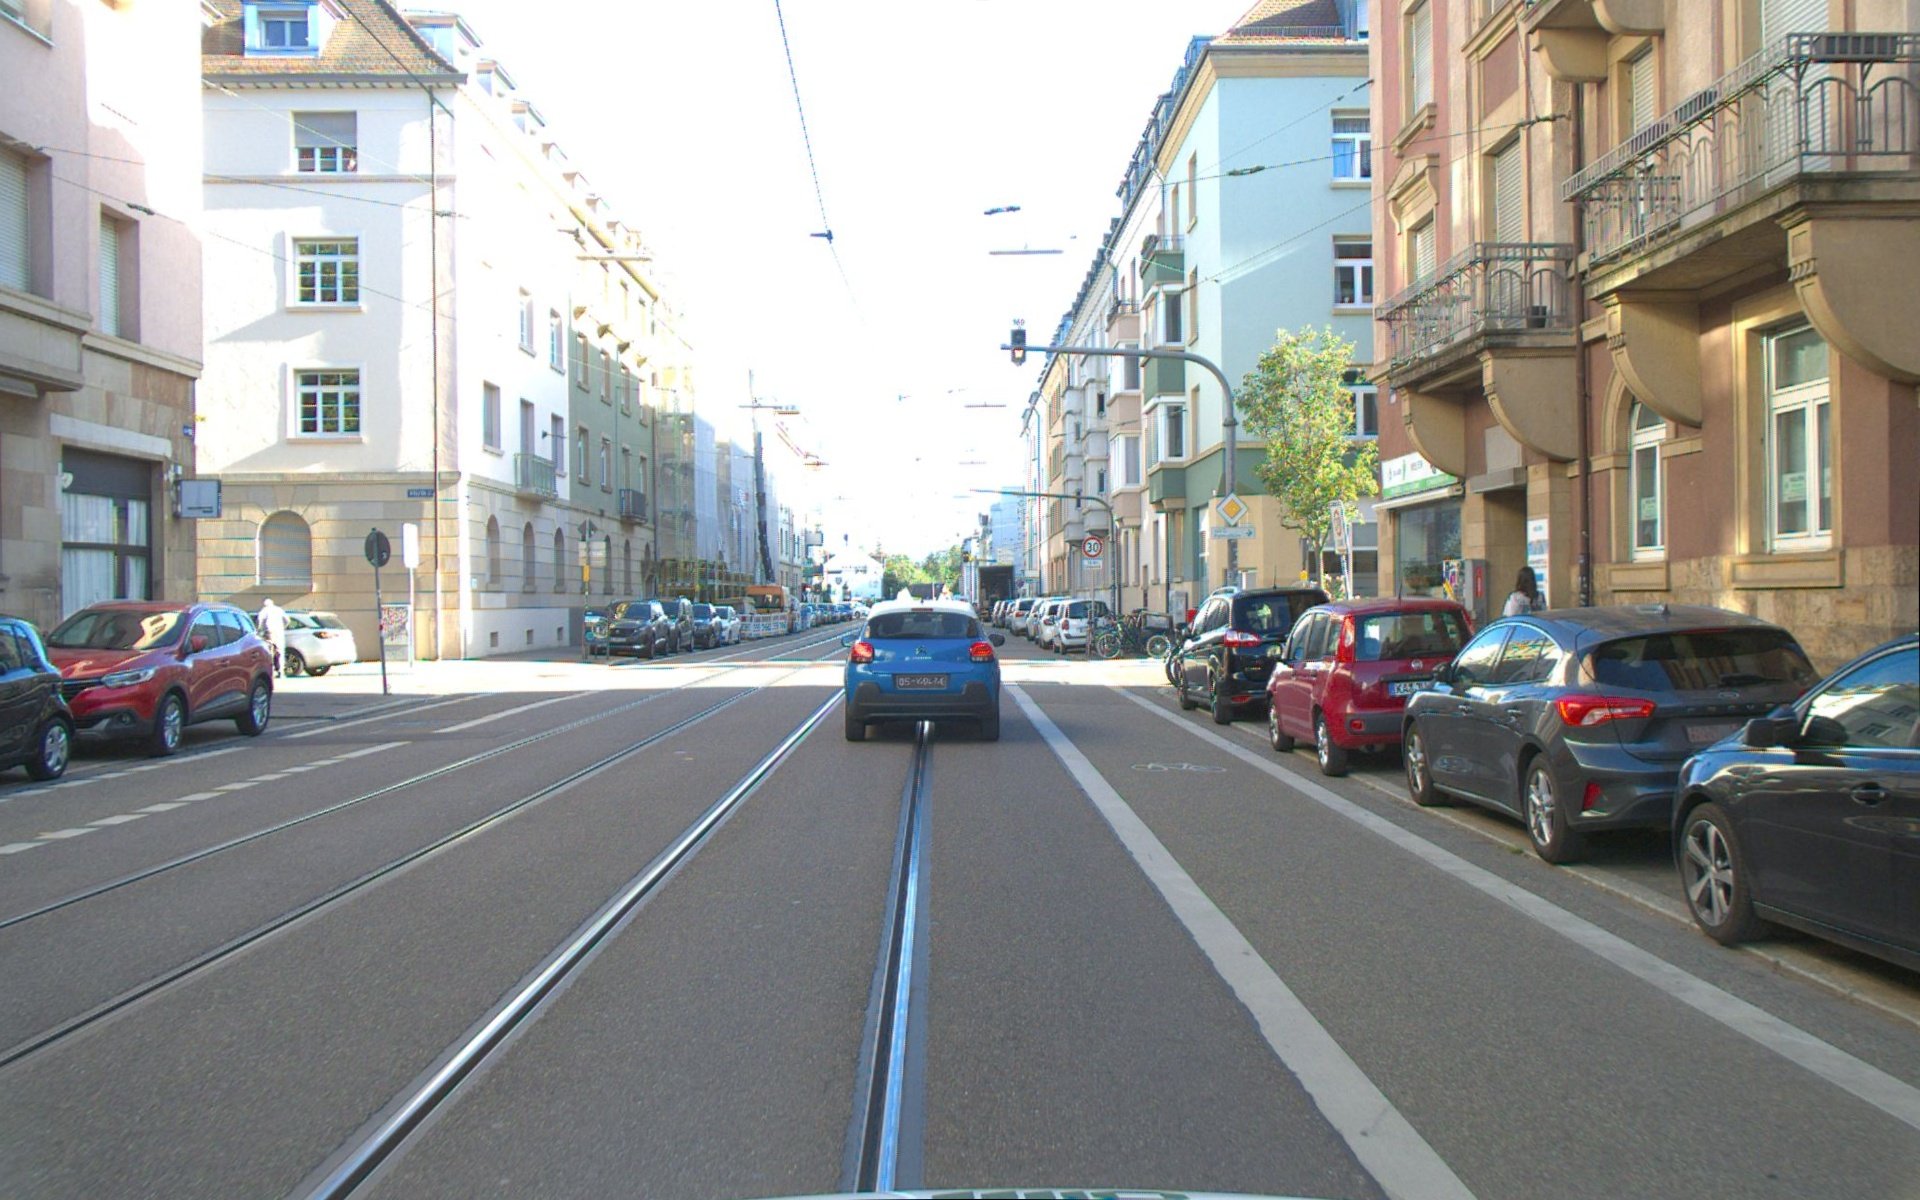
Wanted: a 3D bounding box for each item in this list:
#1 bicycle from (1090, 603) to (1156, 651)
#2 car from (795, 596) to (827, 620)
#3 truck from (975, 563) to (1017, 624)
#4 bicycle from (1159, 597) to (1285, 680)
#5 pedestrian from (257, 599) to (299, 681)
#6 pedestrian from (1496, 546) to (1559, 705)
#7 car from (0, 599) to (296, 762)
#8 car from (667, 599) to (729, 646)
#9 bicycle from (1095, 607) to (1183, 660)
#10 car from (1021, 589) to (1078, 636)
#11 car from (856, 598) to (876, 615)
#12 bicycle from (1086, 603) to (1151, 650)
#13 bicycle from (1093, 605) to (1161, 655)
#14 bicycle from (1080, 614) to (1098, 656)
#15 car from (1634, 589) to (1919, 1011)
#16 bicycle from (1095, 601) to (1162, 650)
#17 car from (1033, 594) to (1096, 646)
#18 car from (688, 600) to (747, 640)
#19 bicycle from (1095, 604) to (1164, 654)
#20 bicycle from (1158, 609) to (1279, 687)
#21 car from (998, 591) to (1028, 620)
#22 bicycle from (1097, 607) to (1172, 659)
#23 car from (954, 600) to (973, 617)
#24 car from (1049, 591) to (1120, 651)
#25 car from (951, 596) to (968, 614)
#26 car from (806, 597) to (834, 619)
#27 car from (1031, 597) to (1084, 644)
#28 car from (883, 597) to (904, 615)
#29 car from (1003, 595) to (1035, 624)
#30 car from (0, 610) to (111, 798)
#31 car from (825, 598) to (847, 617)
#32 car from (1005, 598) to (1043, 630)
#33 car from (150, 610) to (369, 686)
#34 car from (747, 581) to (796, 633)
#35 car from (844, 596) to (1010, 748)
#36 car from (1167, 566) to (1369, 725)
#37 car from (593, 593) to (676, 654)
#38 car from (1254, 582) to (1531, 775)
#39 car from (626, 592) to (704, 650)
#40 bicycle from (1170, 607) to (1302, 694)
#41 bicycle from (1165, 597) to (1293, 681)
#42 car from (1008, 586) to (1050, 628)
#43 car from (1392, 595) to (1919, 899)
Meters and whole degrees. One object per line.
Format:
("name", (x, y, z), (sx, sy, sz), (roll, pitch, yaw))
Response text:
("bicycle", (4.495, 0.741, 45.585), (1.688, 1.174, 0.469), (-5, 0, -1))
("car", (-11.243, 0.584, 125.026), (2.101, 1.649, 3.999), (-2, 0, -1))
("truck", (2.523, -0.497, 120.535), (2.794, 4.154, 11.271), (-2, 0, 0))
("bicycle", (4.258, 0.617, 26.972), (1.919, 1.248, 0.527), (-3, 0, -1))
("pedestrian", (-14.881, 0.858, 36.101), (0.594, 1.742, 0.731), (-1, 0, -1))
("pedestrian", (6.261, 0.274, 18.265), (0.502, 1.716, 0.448), (-1, 0, -1))
("car", (-9.321, 0.820, 19.029), (1.747, 1.634, 4.395), (0, 0, -3))
("car", (-9.623, 0.799, 61.081), (1.747, 1.655, 4.606), (0, 0, -3))
("bicycle", (4.511, 0.837, 41.808), (2.044, 1.174, 0.848), (-4, 0, -1))
("car", (3.537, 0.496, 66.426), (1.622, 1.782, 4.598), (-2, 0, -5))
("car", (-9.687, 0.637, 170.002), (1.789, 1.660, 4.045), (-2, 0, 0))
("bicycle", (4.423, 0.734, 46.211), (1.688, 1.174, 0.469), (-5, 0, -1))
("bicycle", (4.459, 0.805, 44.283), (1.688, 1.174, 0.469), (-5, 0, -1))
("bicycle", (3.484, 0.937, 44.748), (0.345, 1.063, 1.728), (-1, 0, 1))
("car", (4.290, 0.724, 6.135), (1.621, 1.509, 4.472), (-1, 0, -2))
("bicycle", (4.581, 0.700, 44.964), (1.688, 1.174, 0.469), (-5, 0, -1))
("car", (3.465, 0.633, 55.379), (1.747, 1.603, 4.326), (-2, 0, 0))
("car", (-9.787, 0.787, 66.978), (1.683, 1.529, 4.388), (0, 0, 1))
("bicycle", (4.479, 0.767, 43.736), (1.688, 1.174, 0.469), (-5, 0, -1))
("bicycle", (4.294, 0.795, 27.552), (1.884, 1.181, 0.527), (-3, 0, -1))
("car", (3.166, 0.329, 99.097), (1.630, 1.675, 4.221), (-2, 0, 0))
("bicycle", (4.484, 0.837, 42.499), (1.805, 1.174, 0.469), (-5, 0, -1))
("car", (0.307, 0.743, 153.832), (1.729, 1.512, 4.031), (-2, 0, 0))
("car", (3.676, 0.604, 49.453), (1.747, 1.660, 4.000), (-2, 0, 0))
("car", (-0.060, 0.623, 212.821), (2.174, 2.324, 4.083), (-2, 0, 0))
("car", (-11.027, 0.601, 130.803), (1.789, 1.660, 4.848), (-2, 0, 0))
("car", (3.541, 0.718, 60.699), (1.621, 1.594, 4.338), (-2, 0, 0))
("car", (-6.246, 0.532, 154.988), (1.789, 1.660, 4.490), (-2, 0, 0))
("car", (3.323, 0.532, 93.981), (1.630, 1.546, 4.221), (-2, 0, 0))
("car", (-9.124, 0.901, 14.572), (1.747, 1.580, 3.019), (0, 0, -1))
("car", (-11.308, 0.648, 150.872), (1.789, 1.660, 3.904), (-2, 0, -1))
("car", (3.252, 0.700, 84.586), (1.687, 1.512, 4.221), (-2, 0, 0))
("car", (-15.773, 1.064, 37.373), (4.132, 1.490, 1.782), (-2, 2, -2))
("car", (-9.605, 0.350, 84.457), (2.101, 2.518, 4.977), (-1, 0, -3))
("car", (-0.354, 0.736, 18.981), (1.699, 1.534, 3.992), (0, 0, -1))
("car", (3.980, 0.536, 22.126), (1.718, 1.765, 4.506), (-5, 0, 0))
("car", (-9.684, 0.674, 49.543), (1.747, 1.720, 4.665), (0, 0, -3))
("car", (4.064, 0.667, 16.135), (1.717, 1.622, 3.730), (-1, 0, 0))
("car", (-9.772, 0.665, 54.999), (1.746, 1.848, 4.528), (0, 0, 0))
("bicycle", (4.304, 0.788, 25.839), (1.919, 1.248, 0.527), (-3, 0, -1))
("bicycle", (4.283, 0.616, 26.411), (1.919, 1.248, 0.527), (-3, 0, -1))
("car", (3.250, 0.321, 78.448), (1.695, 1.859, 4.686), (-2, 0, 0))
("car", (4.267, 0.758, 10.864), (1.620, 1.539, 4.473), (-1, 0, -1))
